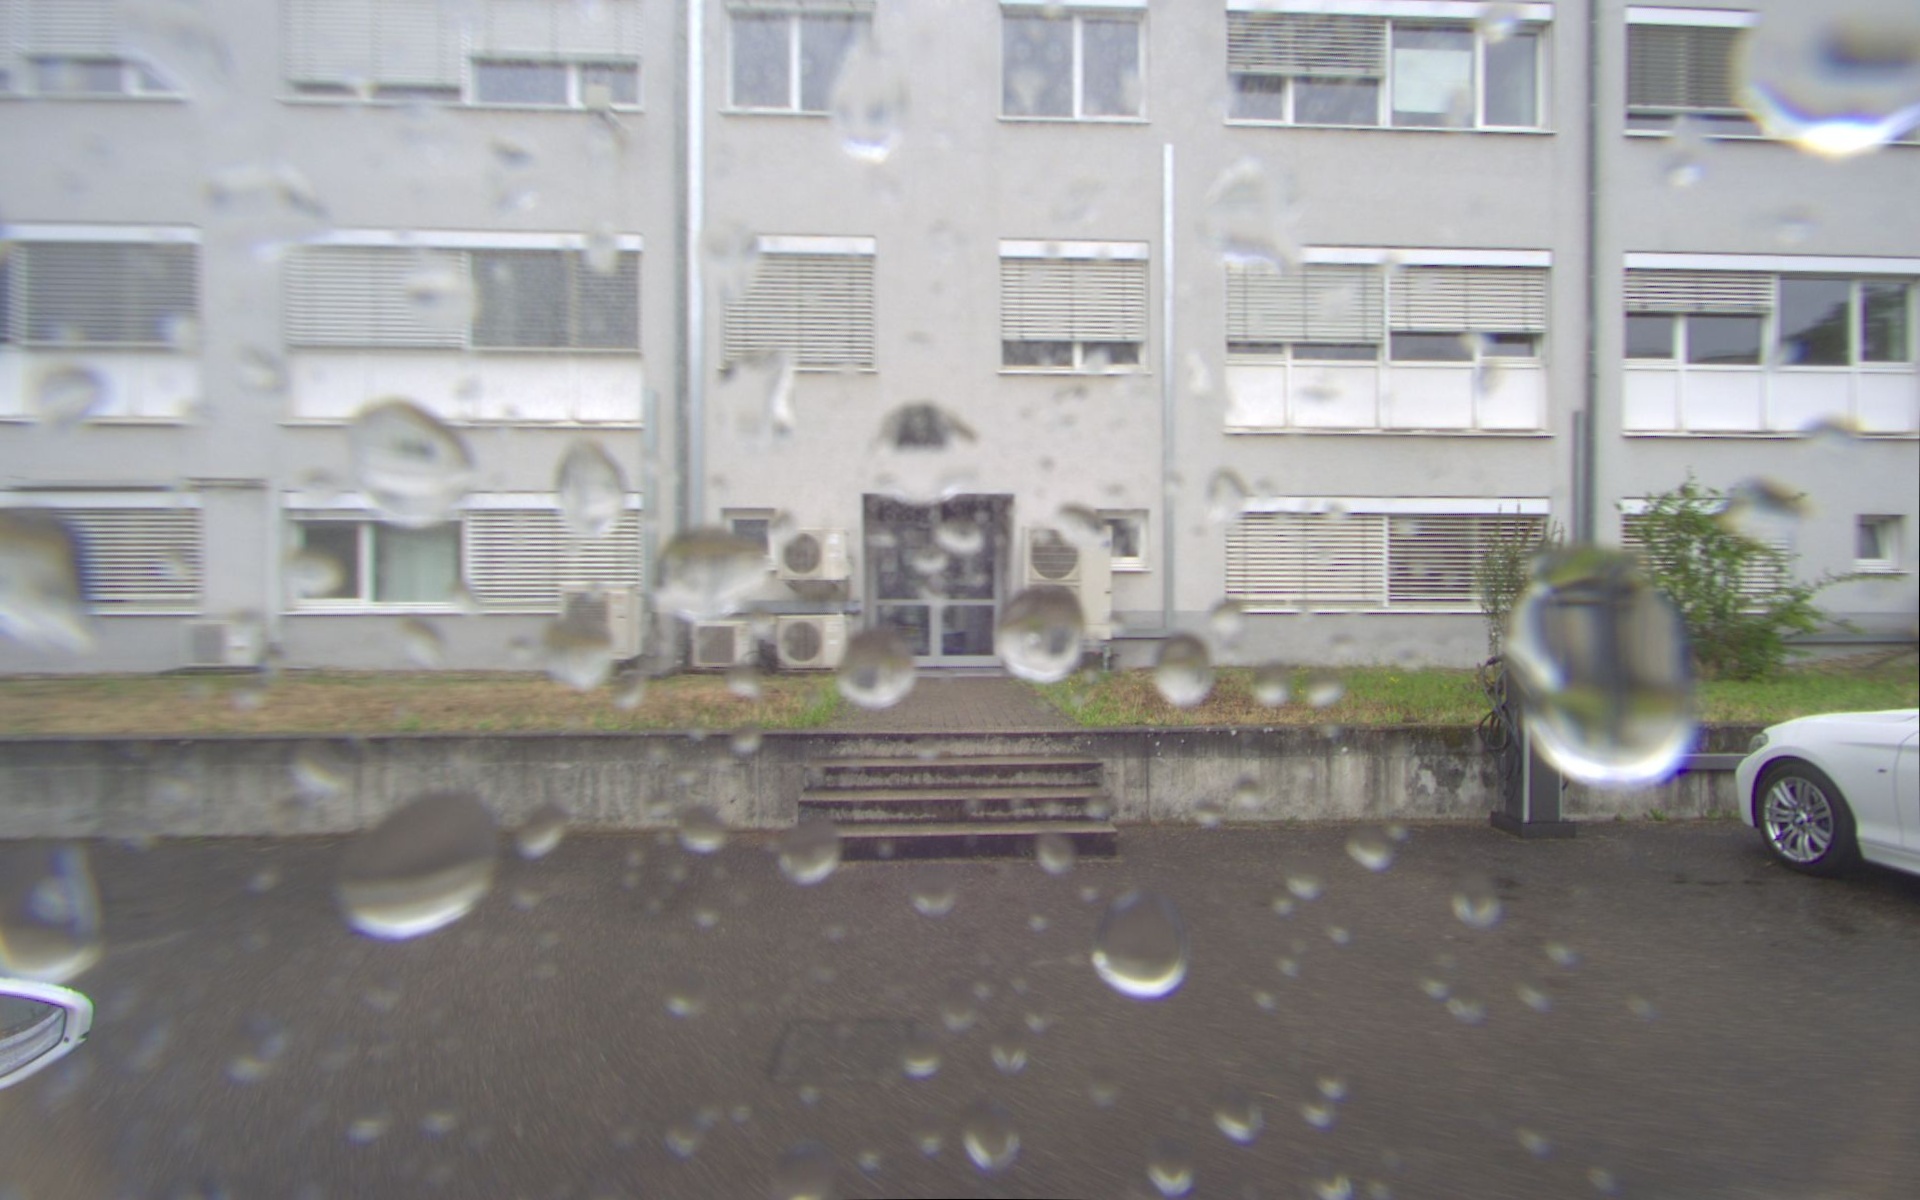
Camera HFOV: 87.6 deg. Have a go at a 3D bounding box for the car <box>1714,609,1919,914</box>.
[{"bbox_3d":[5.739,0.800,4.188,1.961,1.509,4.222,1,-1,0],"label":"car"}]
